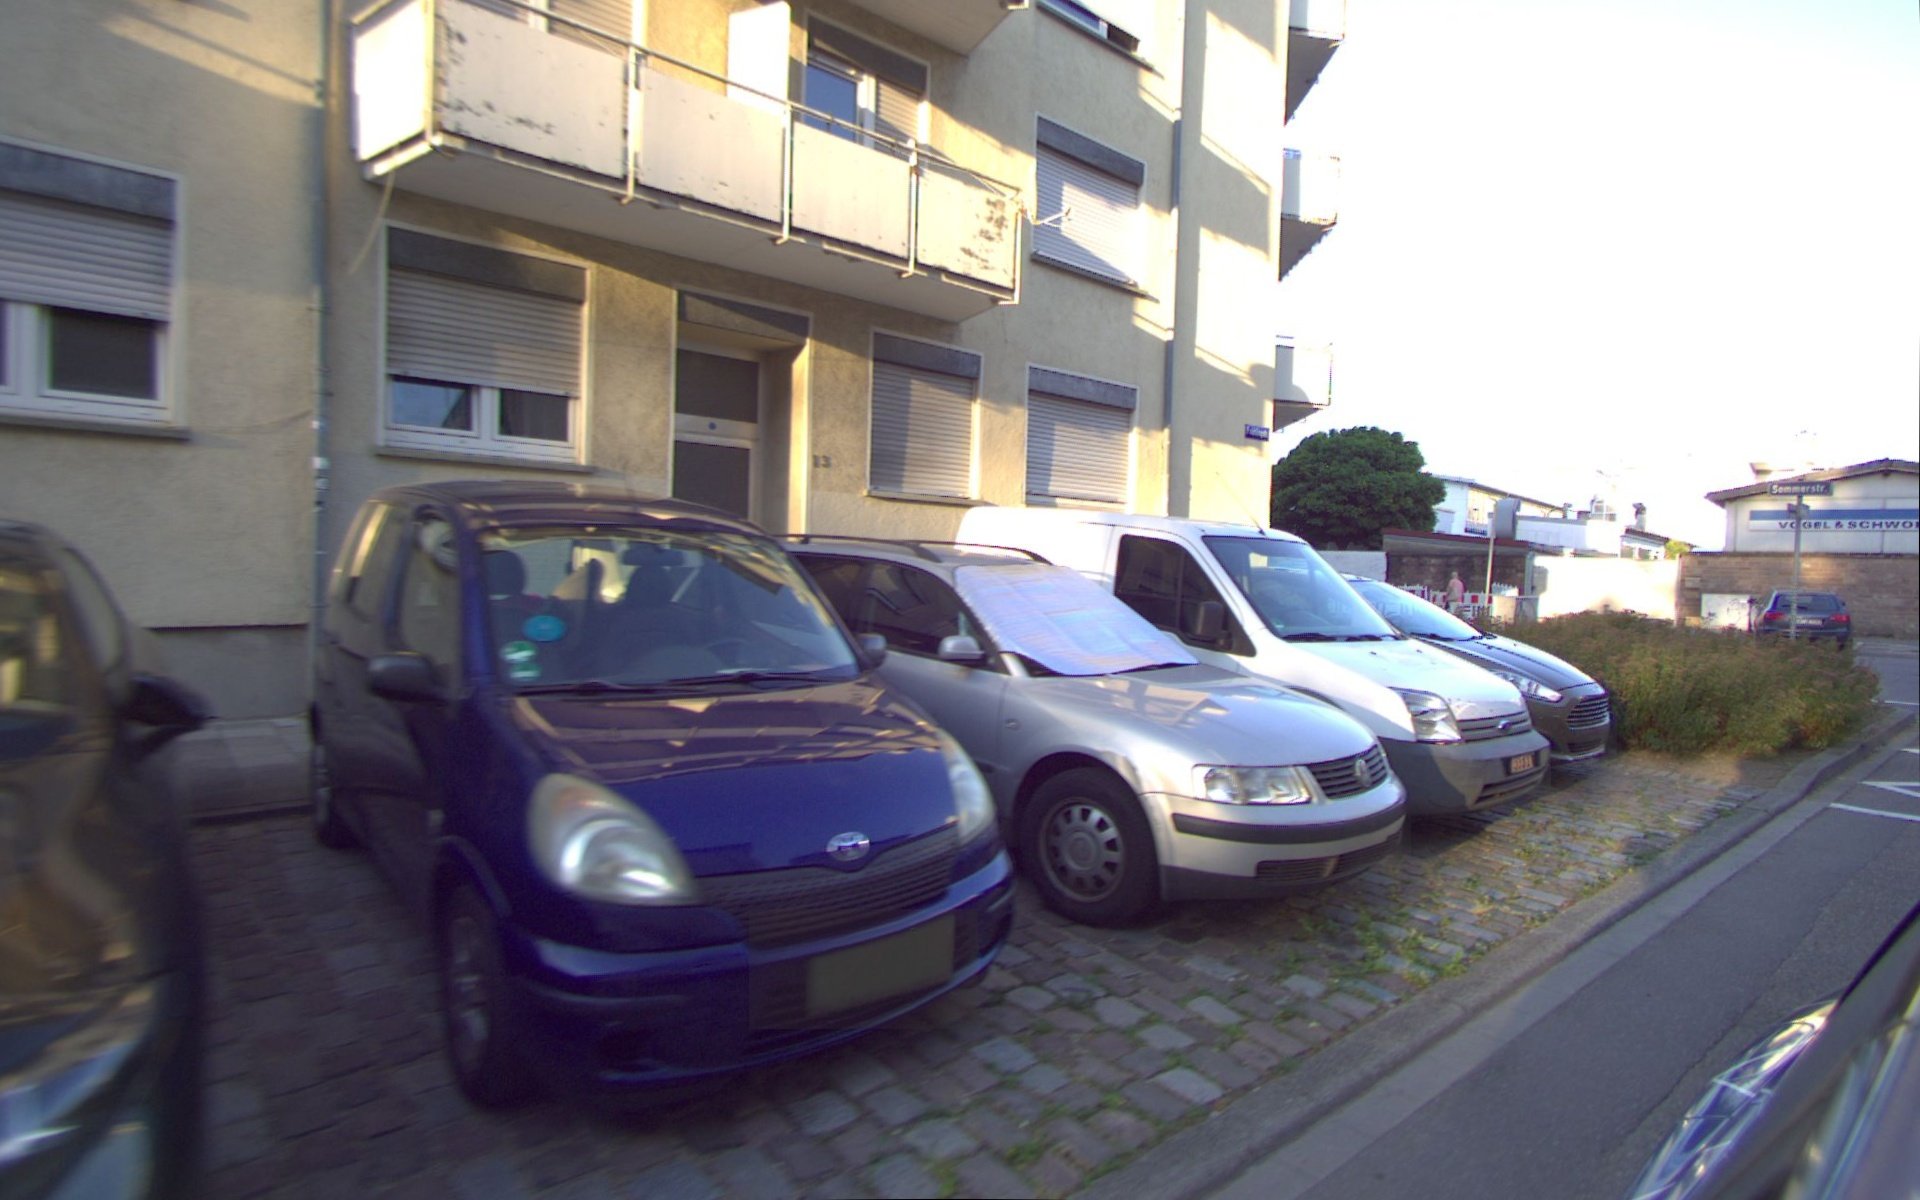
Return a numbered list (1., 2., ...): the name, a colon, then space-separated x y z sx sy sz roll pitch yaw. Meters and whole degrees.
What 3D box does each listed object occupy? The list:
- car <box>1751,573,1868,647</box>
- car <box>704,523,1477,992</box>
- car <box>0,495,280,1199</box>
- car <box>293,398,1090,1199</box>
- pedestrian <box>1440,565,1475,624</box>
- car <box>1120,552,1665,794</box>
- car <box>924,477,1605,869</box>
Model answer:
1. car: 21.172 0.161 25.401 1.821 1.549 4.669 3 4 35
2. car: 0.310 0.403 5.385 1.675 1.540 3.965 0 3 -40
3. car: -2.886 0.468 2.466 1.626 1.467 4.320 -1 5 -40
4. car: -1.463 0.292 4.060 1.626 1.715 3.801 0 5 -40
5. pedestrian: 14.747 -0.174 29.995 0.777 1.686 0.625 3 1 21
6. car: 3.417 0.399 8.596 1.710 1.510 3.882 0 3 -40
7. car: 1.744 0.238 7.055 1.710 1.883 4.290 -1 3 -40
